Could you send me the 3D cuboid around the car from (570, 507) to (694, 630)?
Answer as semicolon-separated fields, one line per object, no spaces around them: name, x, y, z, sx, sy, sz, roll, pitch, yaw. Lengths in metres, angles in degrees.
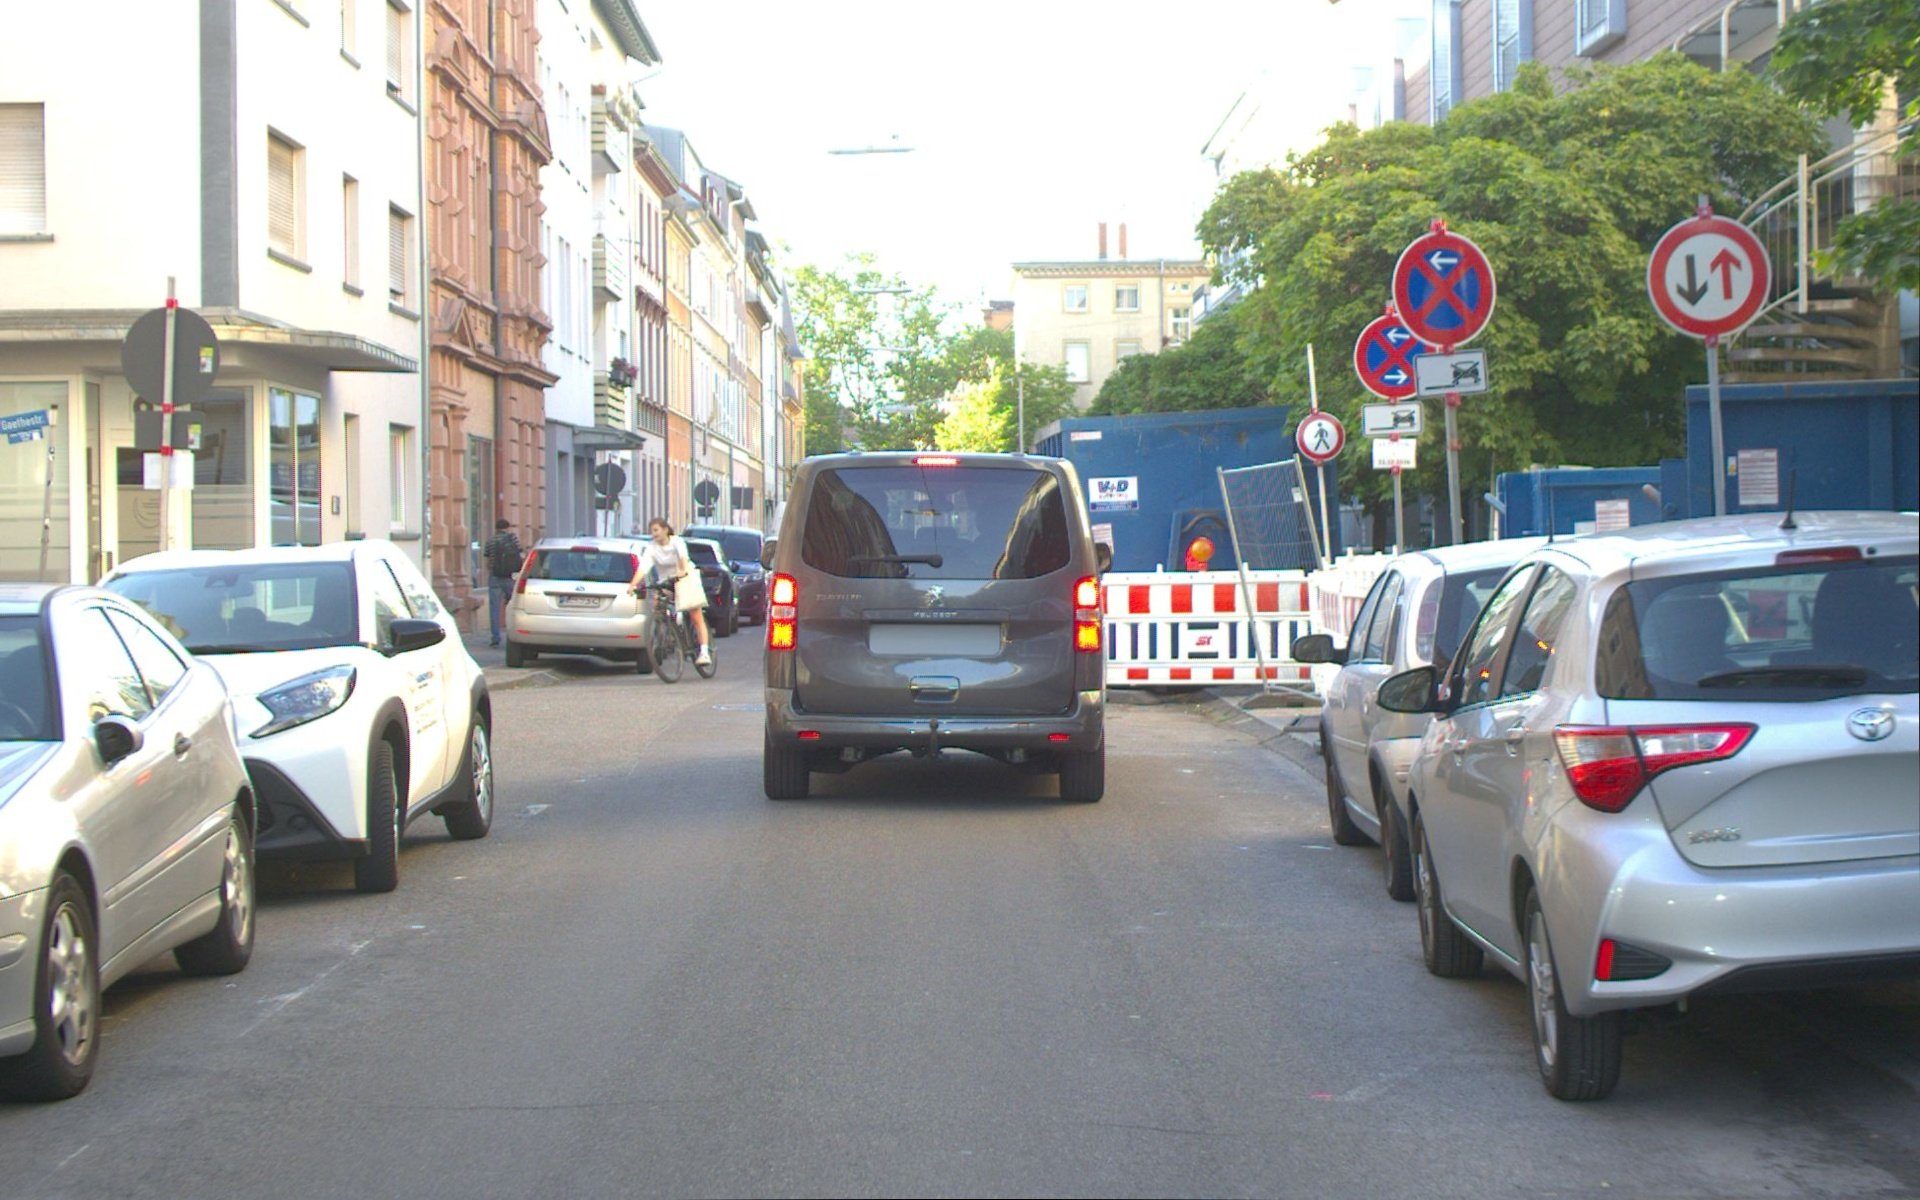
car;-4.879;-0.467;51.442;1.666;1.660;3.092;4;0;-4

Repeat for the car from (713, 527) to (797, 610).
car;-5.068;-0.766;84.628;1.891;1.840;4.349;4;0;-4

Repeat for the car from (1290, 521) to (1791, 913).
car;2.438;0.426;15.250;1.676;1.471;3.729;-2;1;2

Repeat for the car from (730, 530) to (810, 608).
car;-4.970;-0.795;89.553;1.891;1.840;4.349;4;0;-4

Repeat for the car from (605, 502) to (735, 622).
car;-4.618;-0.600;55.079;1.891;1.714;3.754;4;0;-4

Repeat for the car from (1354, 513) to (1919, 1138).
car;2.273;0.518;10.521;1.676;1.520;3.970;-2;1;1

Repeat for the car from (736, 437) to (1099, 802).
car;-0.135;0.087;19.936;1.865;1.880;4.235;0;0;2

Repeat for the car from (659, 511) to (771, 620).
car;-4.595;-0.641;64.446;1.891;1.840;4.349;4;0;-4

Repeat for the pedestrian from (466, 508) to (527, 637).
pedestrian;-6.063;-0.364;44.957;0.740;1.659;0.704;-1;1;-5

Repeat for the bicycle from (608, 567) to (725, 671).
bicycle;-3.007;0.180;35.460;0.733;1.024;2.114;1;1;8

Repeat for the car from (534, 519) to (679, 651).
car;-4.525;-0.192;44.338;1.656;1.520;3.418;4;0;-4

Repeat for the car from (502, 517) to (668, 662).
car;-4.212;-0.127;39.013;1.656;1.455;3.418;4;0;-4

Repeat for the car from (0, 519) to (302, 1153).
car;-3.363;0.571;10.520;1.920;1.554;4.267;-3;1;-2

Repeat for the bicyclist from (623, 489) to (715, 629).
bicyclist;-2.994;-0.420;35.473;0.733;1.407;0.940;1;1;8

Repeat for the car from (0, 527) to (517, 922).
car;-3.287;0.462;15.924;1.920;1.502;4.267;-3;1;-1
